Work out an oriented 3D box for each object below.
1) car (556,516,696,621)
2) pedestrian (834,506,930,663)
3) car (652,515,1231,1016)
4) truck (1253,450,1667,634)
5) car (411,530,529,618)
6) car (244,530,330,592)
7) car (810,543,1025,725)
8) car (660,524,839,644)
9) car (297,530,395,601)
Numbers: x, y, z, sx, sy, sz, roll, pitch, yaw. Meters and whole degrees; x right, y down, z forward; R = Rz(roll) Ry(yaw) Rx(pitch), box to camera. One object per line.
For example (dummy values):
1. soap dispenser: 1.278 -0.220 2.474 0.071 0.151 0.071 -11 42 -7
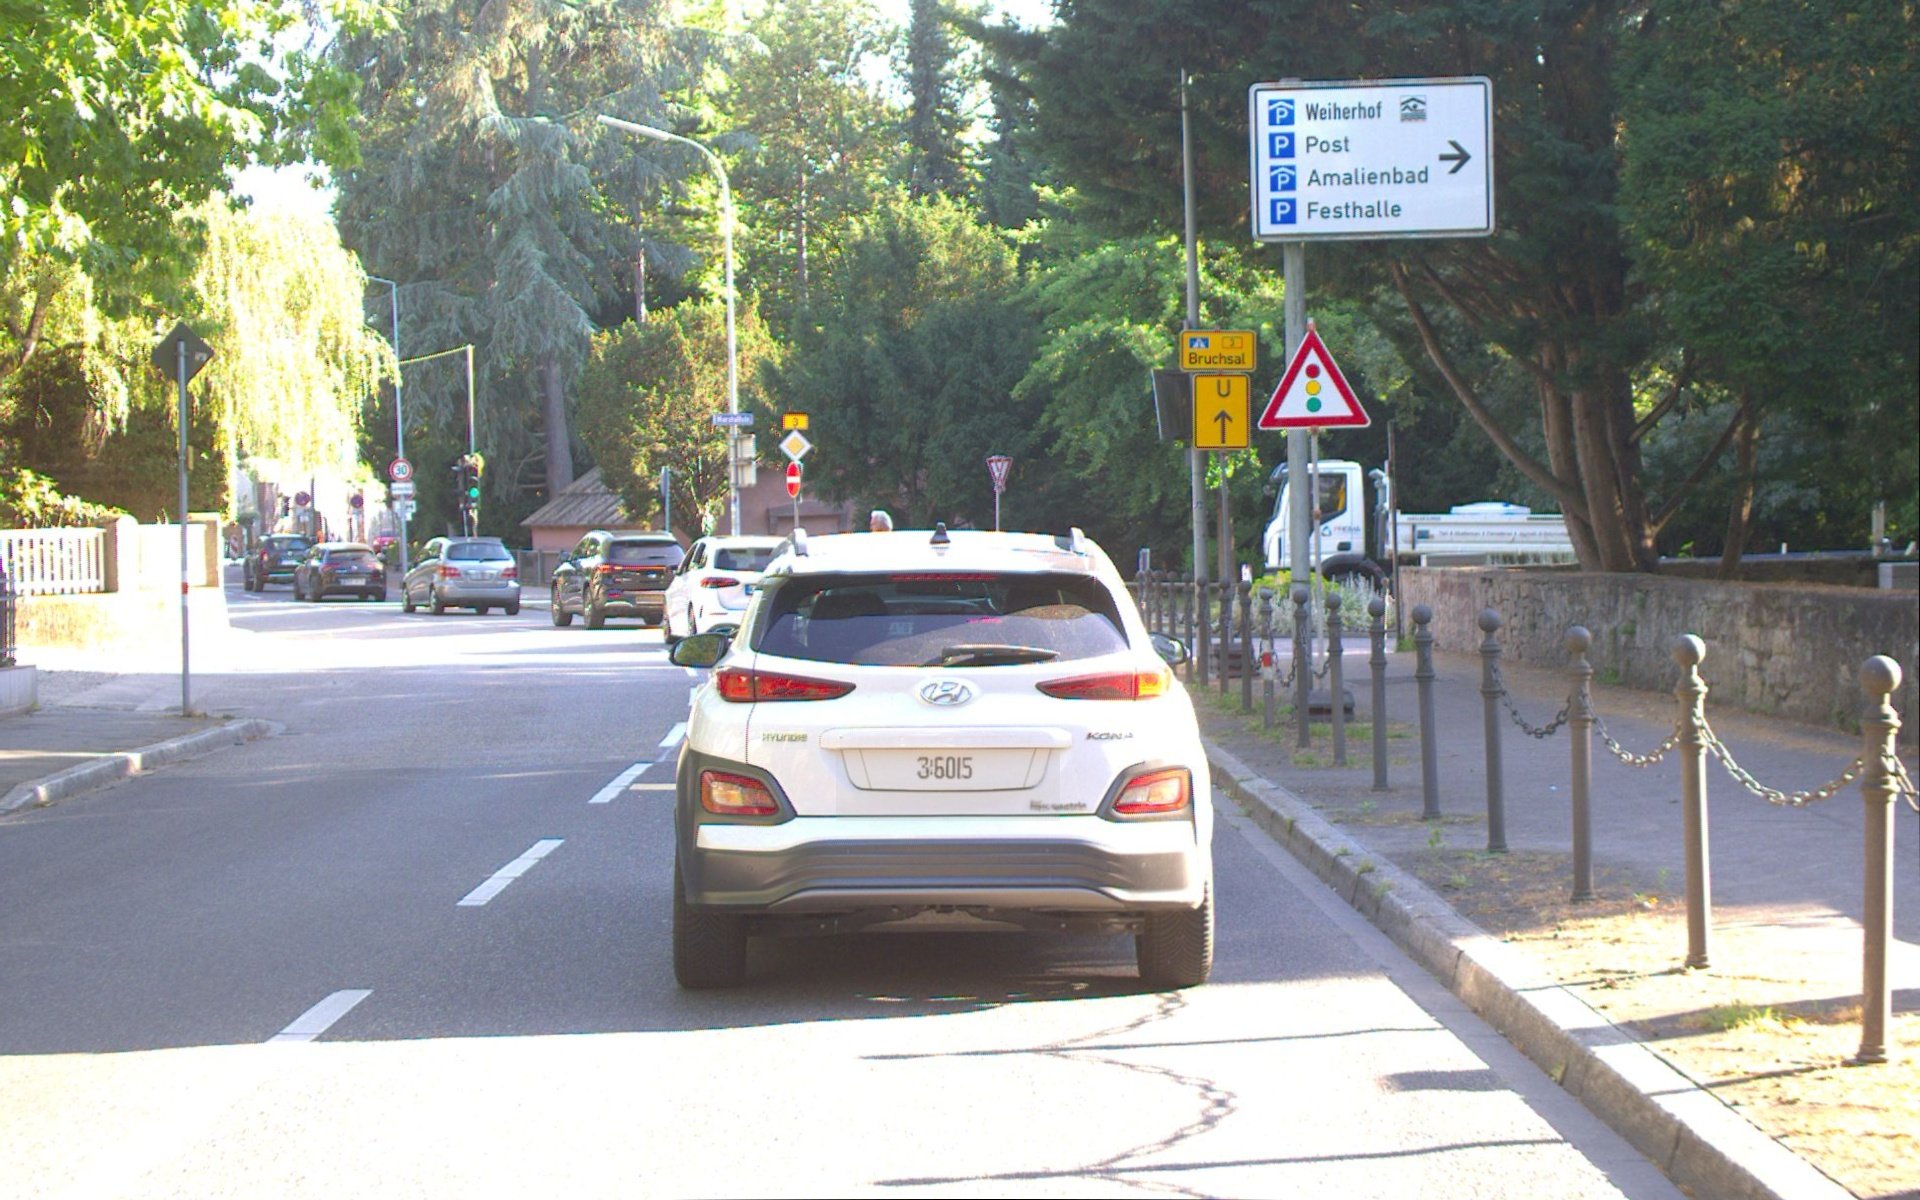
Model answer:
1. car: -5.574 -0.539 56.987 1.831 1.656 4.001 1 1 -12
2. pedestrian: -0.925 -0.186 40.646 0.940 1.820 0.554 0 3 -39
3. car: -0.097 0.492 12.964 1.820 1.568 4.000 1 1 -1
4. truck: 8.205 -0.967 56.996 6.588 2.885 2.433 1 1 5
5. car: -10.112 -0.561 70.803 1.831 1.735 4.001 1 1 -16
6. car: -19.022 -1.114 97.046 1.831 1.656 4.001 1 1 -19
7. car: -0.372 0.237 29.802 1.708 1.429 4.365 1 1 -1
8. car: -2.898 -0.244 46.589 1.805 1.532 4.001 1 1 -12
9. car: -15.148 -0.865 84.685 1.831 1.656 4.001 1 1 -18
